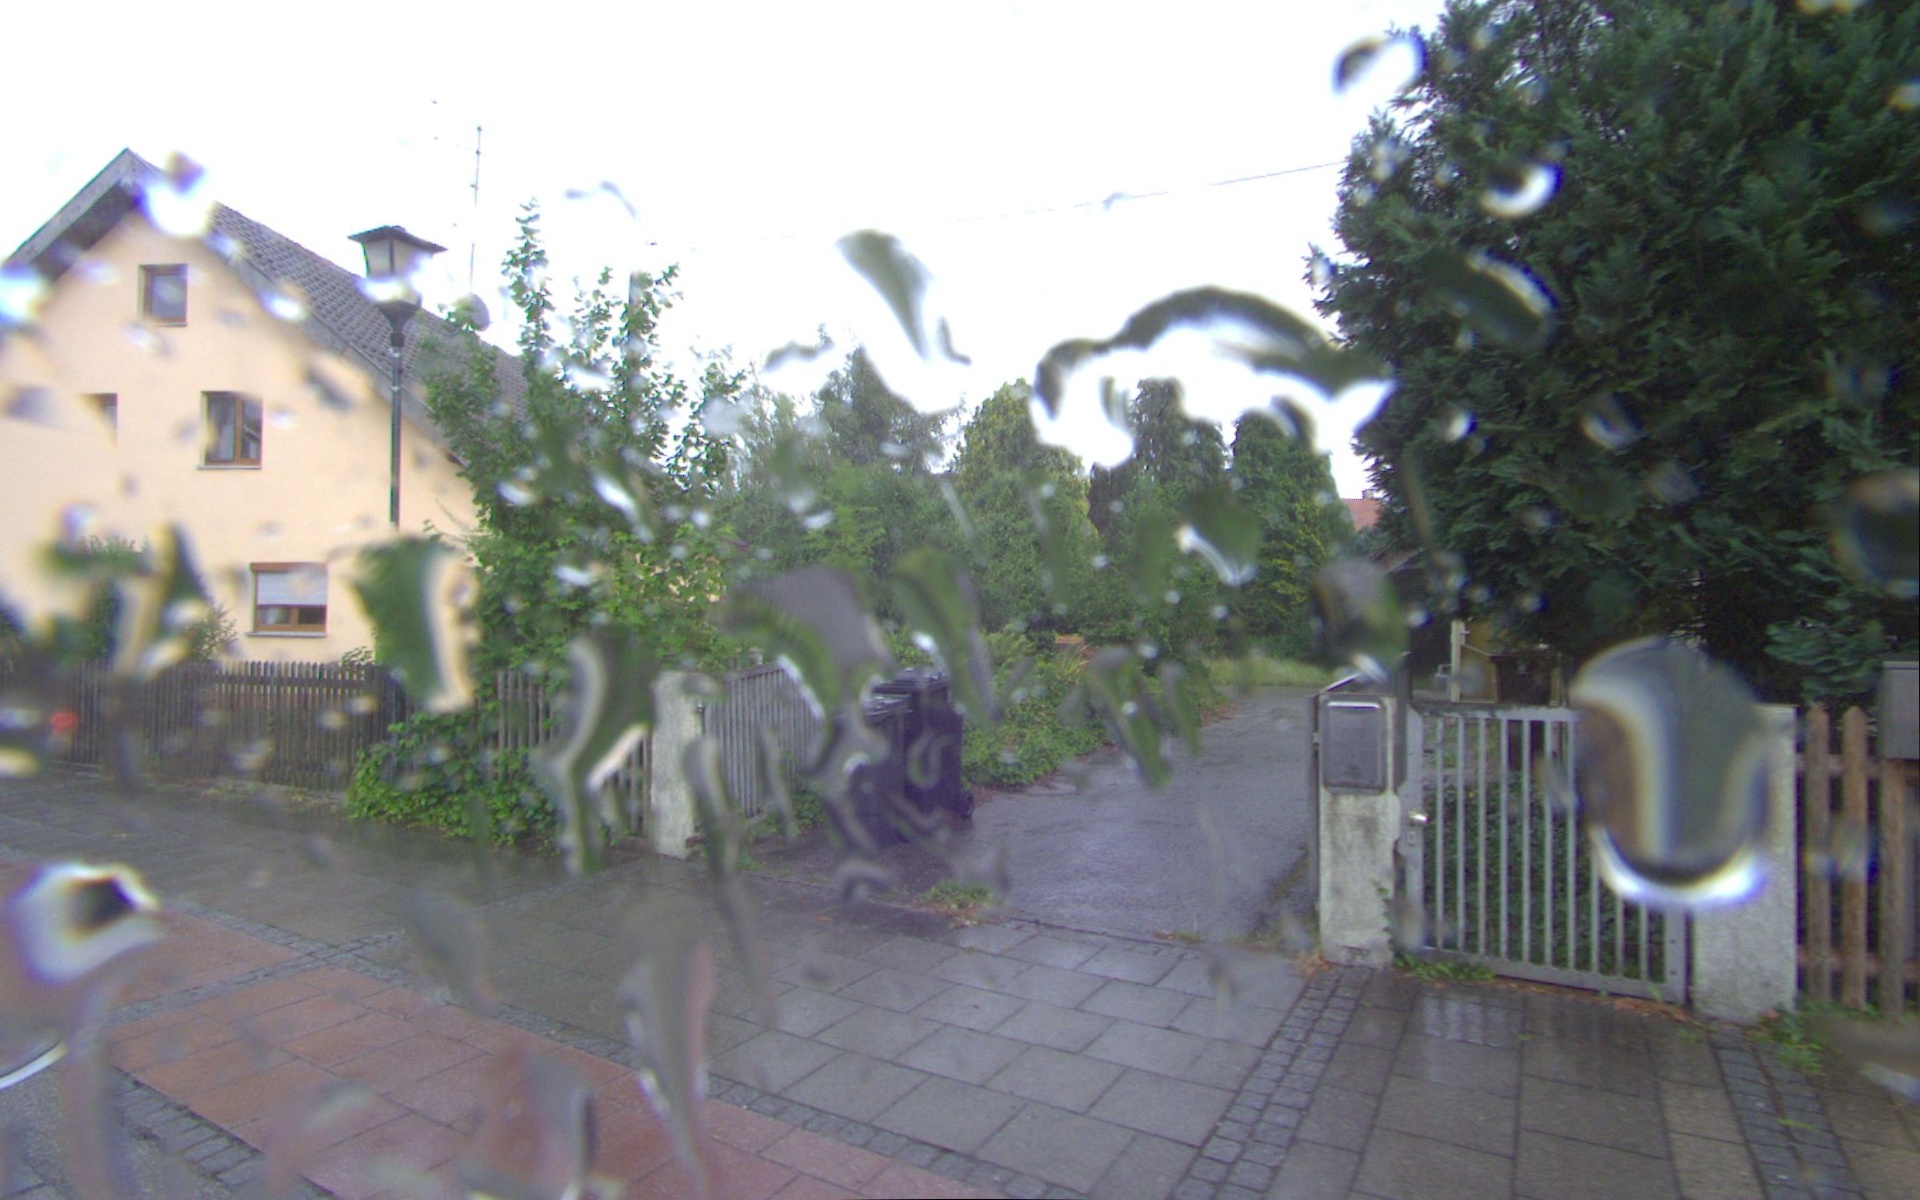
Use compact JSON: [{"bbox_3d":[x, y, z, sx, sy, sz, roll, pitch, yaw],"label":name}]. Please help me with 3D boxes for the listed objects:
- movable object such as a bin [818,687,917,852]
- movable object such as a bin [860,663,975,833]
[{"bbox_3d":[-0.584,1.052,6.346,0.440,0.948,0.432,-1,1,33],"label":"movable object such as a bin"},{"bbox_3d":[-0.286,0.984,6.863,0.545,1.054,0.574,-1,1,33],"label":"movable object such as a bin"}]
